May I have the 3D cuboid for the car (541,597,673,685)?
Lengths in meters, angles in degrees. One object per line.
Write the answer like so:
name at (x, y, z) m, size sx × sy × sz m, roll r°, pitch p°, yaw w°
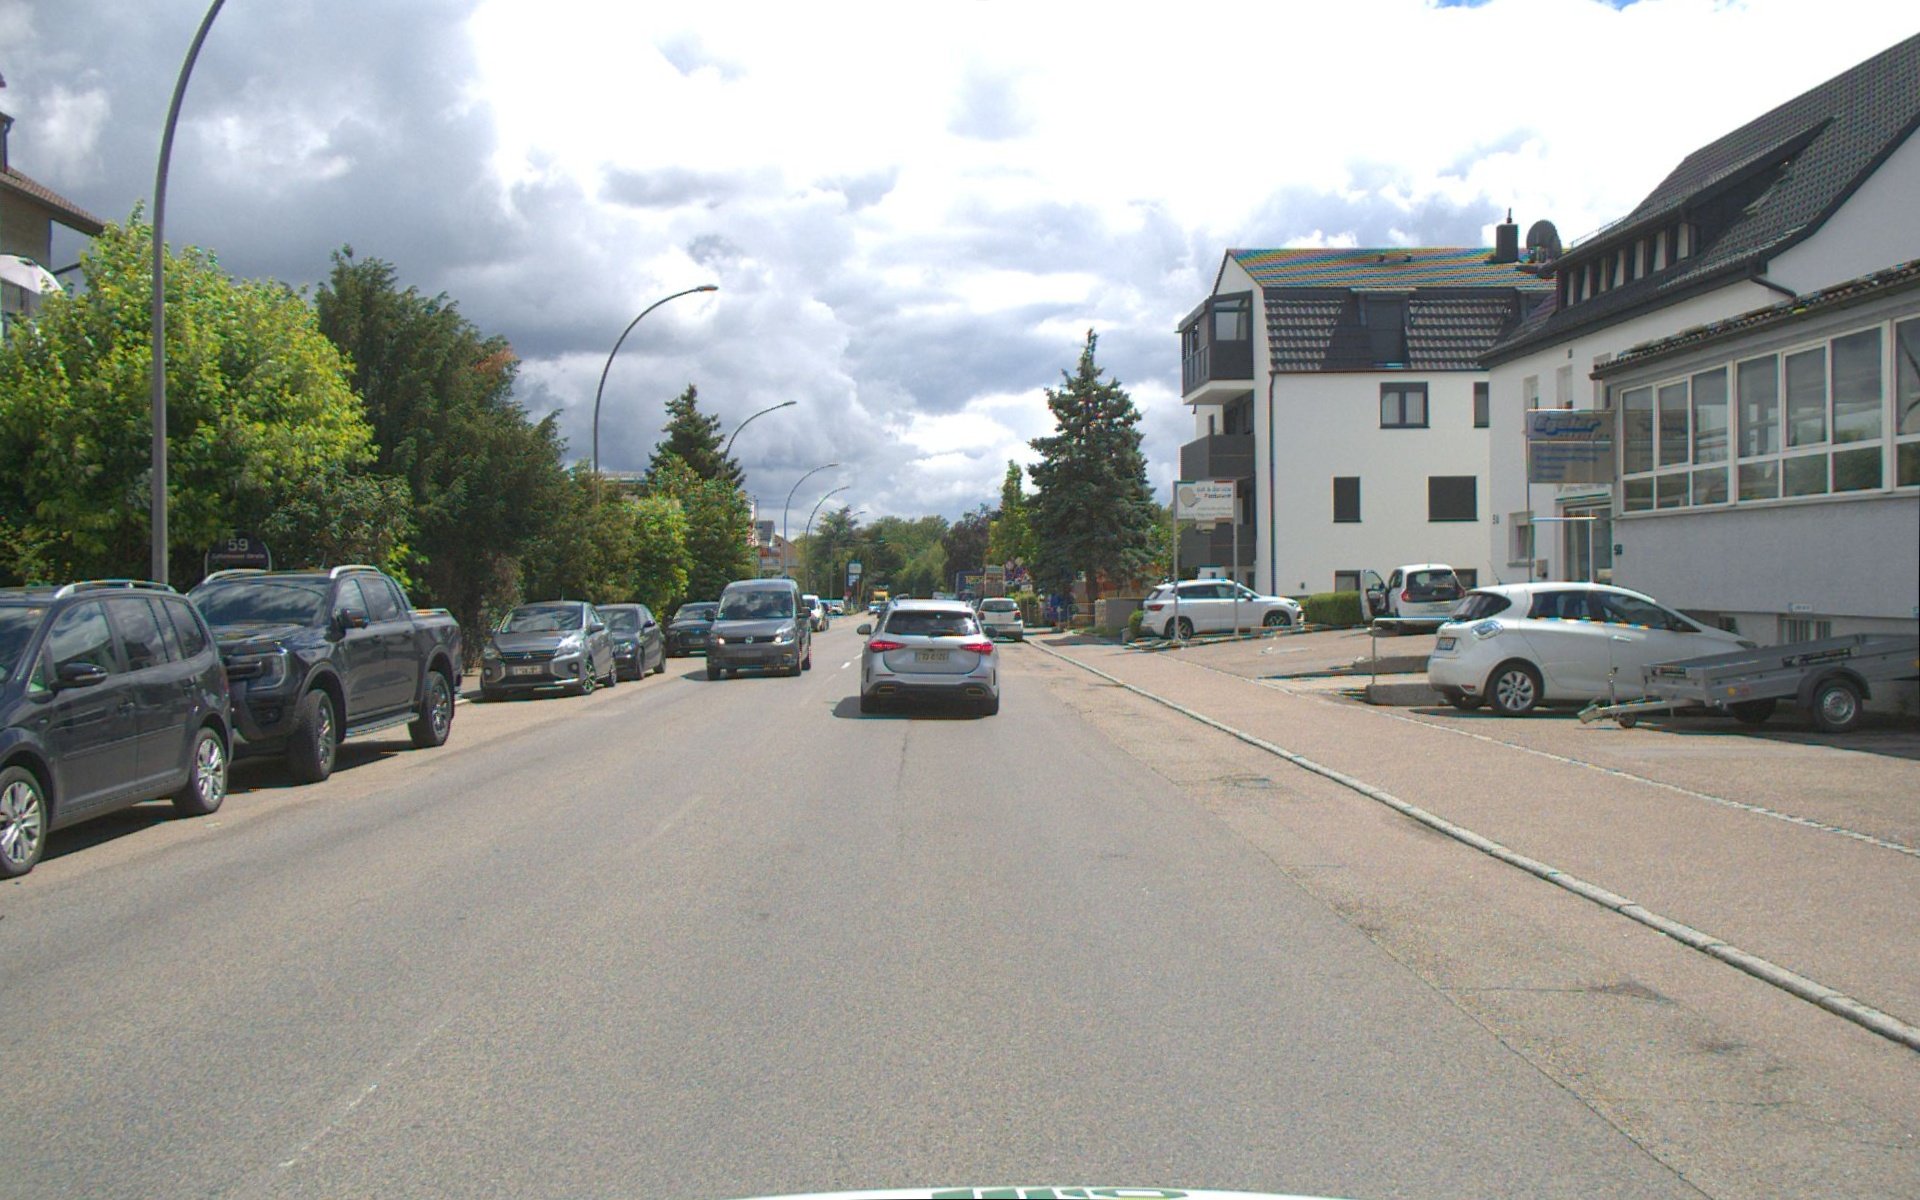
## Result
car at (-6.676, 0.732, 31.693) m, size 1.629 × 1.460 × 4.337 m, roll -3°, pitch 0°, yaw -2°

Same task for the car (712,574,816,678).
car at (-3.715, 0.459, 31.920) m, size 1.629 × 1.827 × 4.336 m, roll -2°, pitch 0°, yaw -3°

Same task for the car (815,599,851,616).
car at (-15.259, 0.922, 199.089) m, size 4.193 × 1.868 × 1.990 m, roll -1°, pitch -3°, yaw -3°

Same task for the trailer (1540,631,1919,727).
trailer at (8.281, 0.809, 17.452) m, size 3.740 × 0.822 × 1.656 m, roll -1°, pitch 0°, yaw -3°

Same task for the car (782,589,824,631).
car at (-7.682, 0.476, 81.271) m, size 1.709 × 1.870 × 4.353 m, roll -4°, pitch 0°, yaw -3°

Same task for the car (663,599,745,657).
car at (-6.946, 0.726, 45.172) m, size 1.629 × 1.439 × 4.337 m, roll -2°, pitch 0°, yaw -2°

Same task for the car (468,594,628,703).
car at (-6.632, 0.723, 27.011) m, size 1.629 × 1.537 × 3.943 m, roll -4°, pitch 0°, yaw -2°

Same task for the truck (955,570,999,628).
truck at (0.927, -0.065, 93.736) m, size 2.273 × 3.151 × 6.041 m, roll 1°, pitch 0°, yaw -1°

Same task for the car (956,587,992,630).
car at (0.723, 0.427, 88.205) m, size 1.835 × 2.207 × 4.463 m, roll 1°, pitch 0°, yaw -1°

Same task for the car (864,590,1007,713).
car at (-0.411, 0.635, 22.478) m, size 1.749 × 1.510 × 4.314 m, roll 0°, pitch 0°, yaw -3°

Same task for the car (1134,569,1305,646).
car at (6.850, 0.188, 43.920) m, size 4.108 × 1.682 × 1.866 m, roll -4°, pitch 0°, yaw -2°

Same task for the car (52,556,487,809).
car at (-6.225, 0.638, 15.773) m, size 1.872 × 1.852 × 5.428 m, roll -4°, pitch 0°, yaw -2°

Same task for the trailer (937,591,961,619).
trailer at (-0.969, 0.433, 145.357) m, size 1.903 × 2.334 × 4.443 m, roll -1°, pitch 0°, yaw -2°

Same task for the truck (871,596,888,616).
truck at (-11.531, 0.856, 238.115) m, size 2.032 × 2.863 × 7.077 m, roll -2°, pitch 0°, yaw 0°

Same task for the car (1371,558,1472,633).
car at (10.839, -0.147, 39.057) m, size 1.597 × 1.545 × 3.667 m, roll -4°, pitch 1°, yaw 6°

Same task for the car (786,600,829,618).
car at (-16.710, 0.939, 181.598) m, size 4.537 × 1.661 × 2.196 m, roll -4°, pitch 0°, yaw -5°

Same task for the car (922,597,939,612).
car at (-3.036, 0.466, 170.482) m, size 1.720 × 1.585 × 3.998 m, roll -1°, pitch 0°, yaw -2°

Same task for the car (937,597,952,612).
car at (-2.253, 0.668, 240.191) m, size 2.100 × 2.019 × 5.260 m, roll -1°, pitch 0°, yaw -1°

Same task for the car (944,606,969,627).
car at (-0.257, 1.290, 134.045) m, size 1.901 × 1.599 × 4.446 m, roll -1°, pitch 0°, yaw 1°

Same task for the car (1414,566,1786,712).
car at (7.683, 0.454, 20.080) m, size 3.821 × 1.637 × 1.748 m, roll 1°, pitch 0°, yaw -3°

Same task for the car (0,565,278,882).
car at (-6.046, 0.690, 10.455) m, size 1.629 × 1.709 × 4.525 m, roll -2°, pitch 0°, yaw -2°

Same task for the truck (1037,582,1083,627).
truck at (5.193, 0.189, 86.692) m, size 1.793 × 2.118 × 5.384 m, roll -4°, pitch 1°, yaw -2°

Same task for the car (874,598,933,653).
car at (-1.764, 0.751, 50.650) m, size 1.720 × 1.585 × 3.998 m, roll -1°, pitch 0°, yaw -3°

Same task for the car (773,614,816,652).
car at (-7.524, 1.482, 75.508) m, size 1.607 × 1.512 × 3.998 m, roll -4°, pitch 0°, yaw -3°

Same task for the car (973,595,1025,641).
car at (1.355, 0.604, 57.407) m, size 1.684 × 1.457 × 3.984 m, roll -2°, pitch 0°, yaw 1°

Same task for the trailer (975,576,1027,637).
trailer at (1.538, 0.235, 63.158) m, size 1.737 × 2.182 × 4.112 m, roll -1°, pitch 0°, yaw -2°
